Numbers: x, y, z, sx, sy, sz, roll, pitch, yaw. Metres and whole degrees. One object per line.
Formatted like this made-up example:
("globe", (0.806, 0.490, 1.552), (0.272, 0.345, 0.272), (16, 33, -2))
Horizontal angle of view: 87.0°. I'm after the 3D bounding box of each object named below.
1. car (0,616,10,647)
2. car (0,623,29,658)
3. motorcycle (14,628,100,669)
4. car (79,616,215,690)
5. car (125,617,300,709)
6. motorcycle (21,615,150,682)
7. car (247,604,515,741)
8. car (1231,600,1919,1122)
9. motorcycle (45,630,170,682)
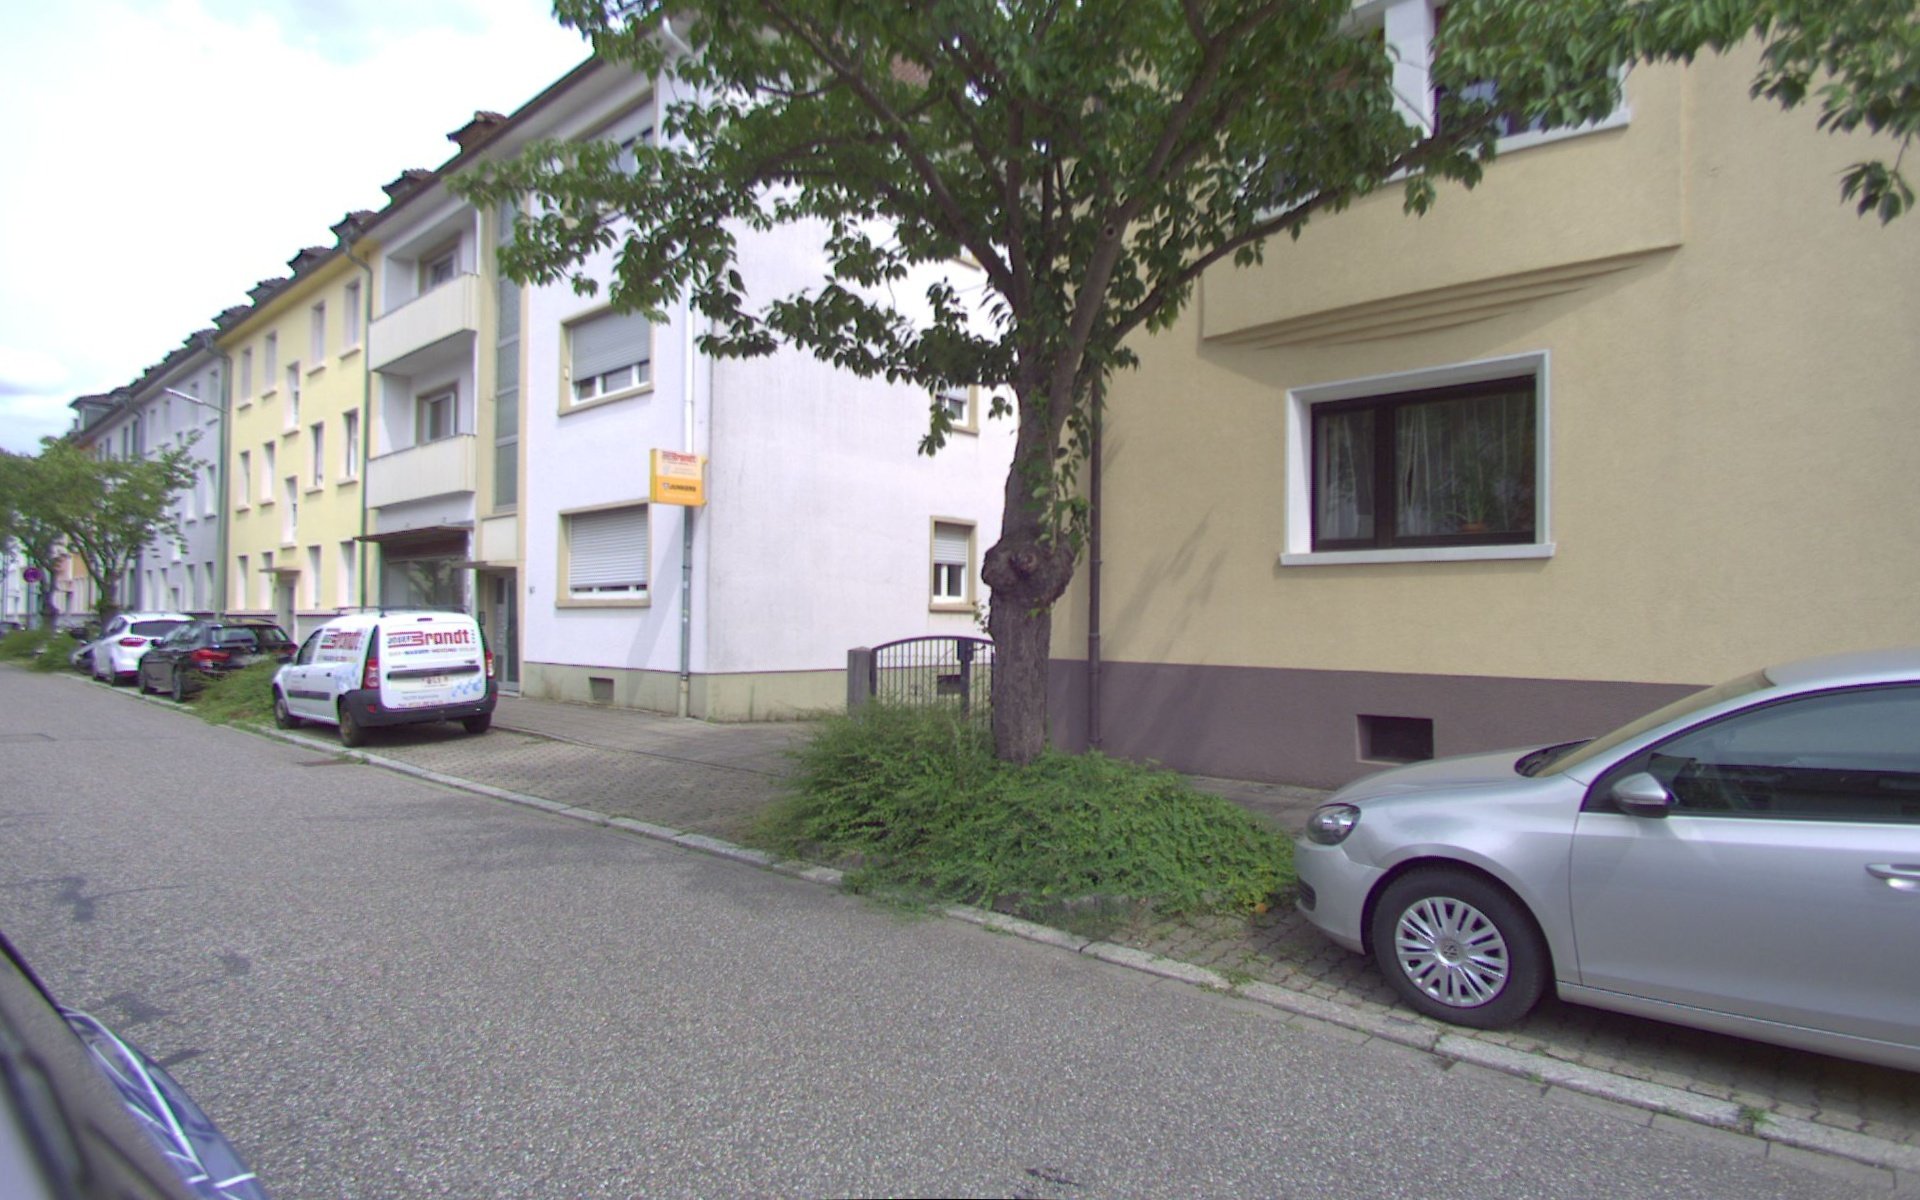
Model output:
("car", (-49.183, 1.569, 50.711), (4.090, 1.495, 1.818), (-1, -1, 40))
("car", (-44.369, 1.847, 46.519), (4.117, 1.495, 1.818), (-1, 1, 40))
("motorcycle", (-27.686, 1.508, 31.079), (0.591, 1.201, 1.902), (1, -3, 15))
("car", (-18.946, 1.175, 23.525), (4.254, 1.568, 1.738), (-1, -3, 42))
("car", (-14.393, 1.106, 19.372), (4.811, 1.503, 1.771), (0, -1, 42))
("motorcycle", (-22.416, 1.239, 25.984), (2.438, 1.689, 0.939), (0, -3, -1))
("car", (-8.106, 0.928, 13.994), (4.381, 1.593, 1.898), (-1, -4, 42))
("car", (3.360, 0.768, 3.595), (4.274, 1.402, 1.753), (-1, 4, 43))
("motorcycle", (-22.835, 1.518, 27.177), (2.414, 1.321, 0.645), (3, -3, -23))
